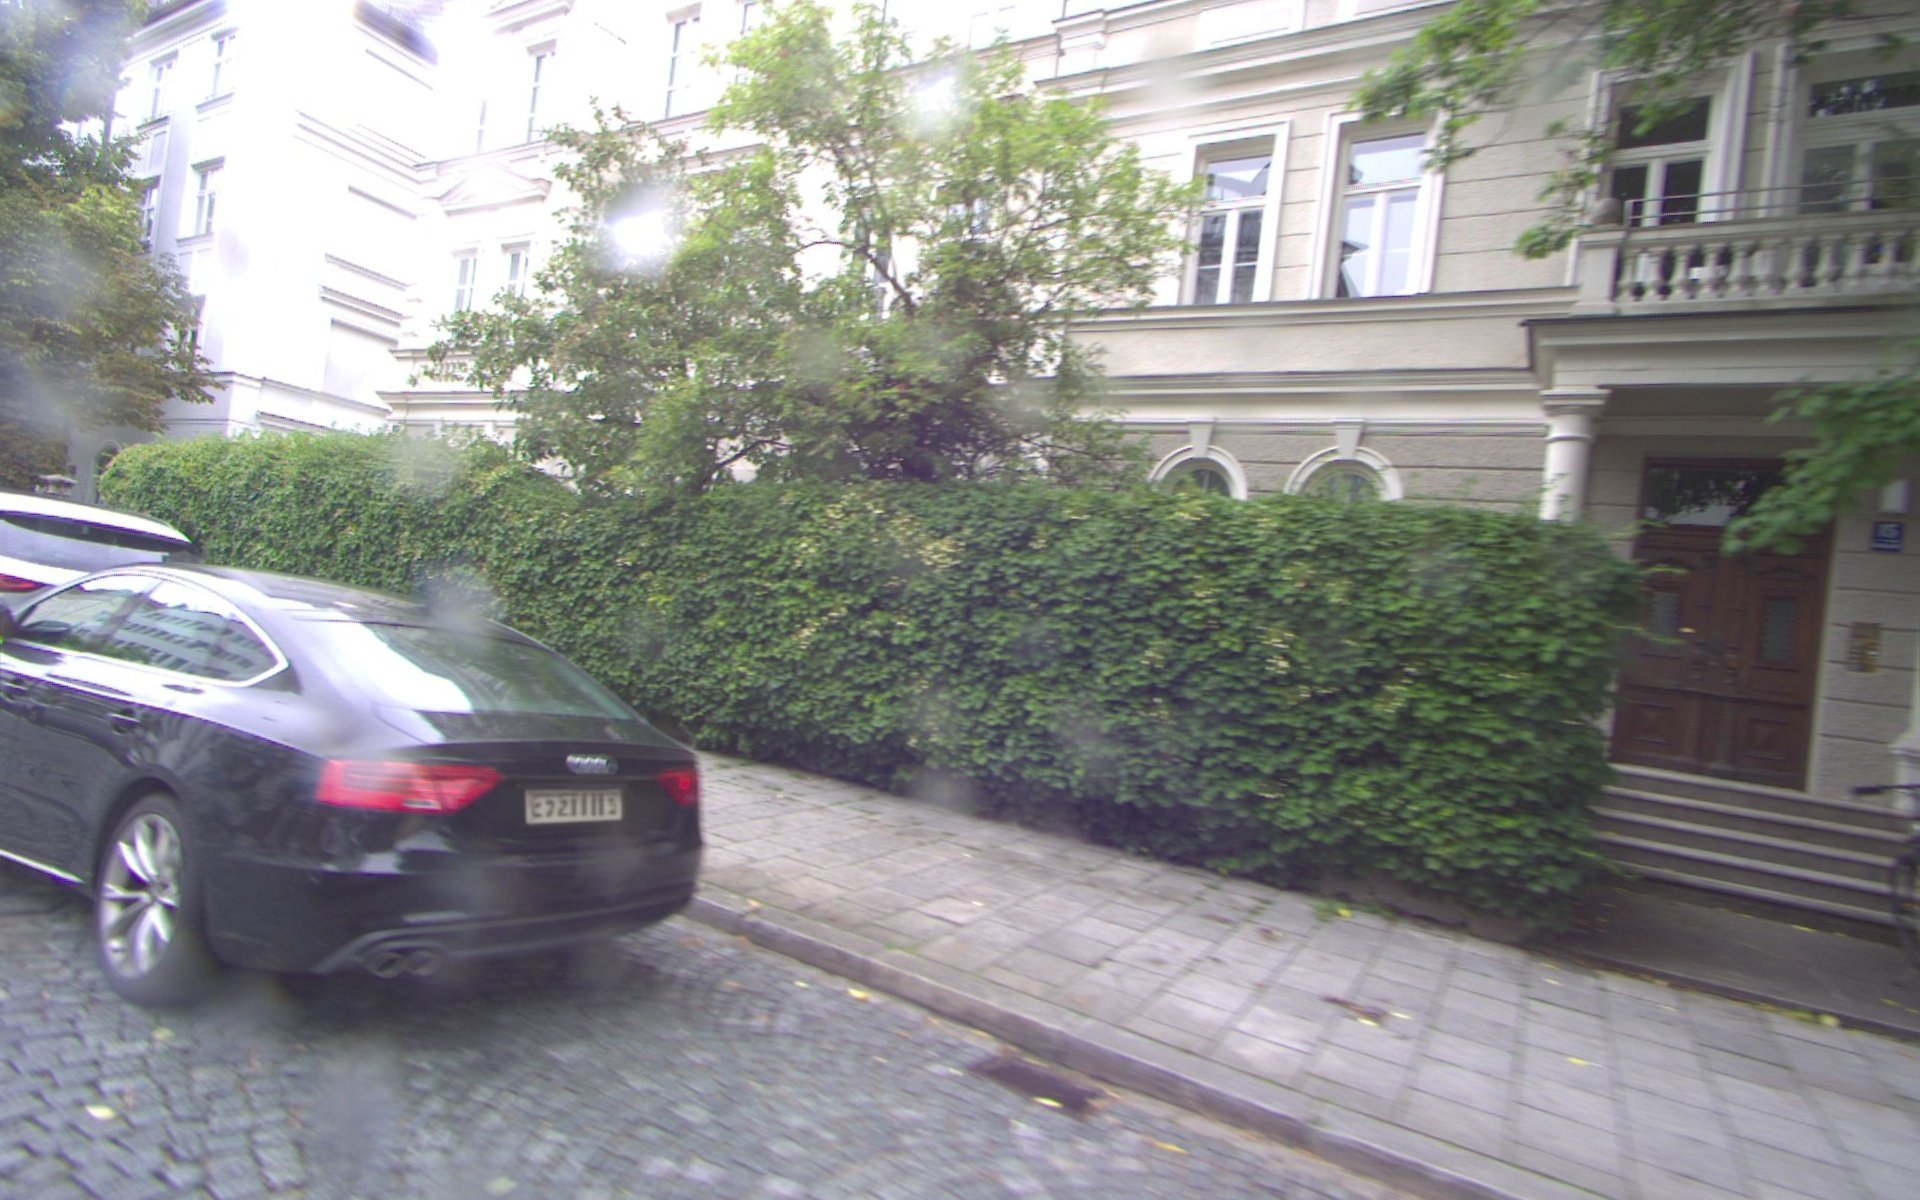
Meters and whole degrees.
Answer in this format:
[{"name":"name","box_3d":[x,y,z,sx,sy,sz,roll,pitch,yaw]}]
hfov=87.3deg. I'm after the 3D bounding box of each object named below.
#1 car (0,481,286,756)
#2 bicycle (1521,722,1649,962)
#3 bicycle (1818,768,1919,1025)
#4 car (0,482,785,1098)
[{"name":"car","box_3d":[-7.218,-0.020,7.533,4.137,1.596,1.824,7,-5,31]},{"name":"bicycle","box_3d":[4.067,1.482,6.651,0.423,1.166,2.040,7,1,27]},{"name":"bicycle","box_3d":[5.467,1.644,5.678,0.497,1.166,1.495,7,1,27]},{"name":"car","box_3d":[-3.220,0.447,4.564,4.434,1.519,1.880,7,-4,29]}]
